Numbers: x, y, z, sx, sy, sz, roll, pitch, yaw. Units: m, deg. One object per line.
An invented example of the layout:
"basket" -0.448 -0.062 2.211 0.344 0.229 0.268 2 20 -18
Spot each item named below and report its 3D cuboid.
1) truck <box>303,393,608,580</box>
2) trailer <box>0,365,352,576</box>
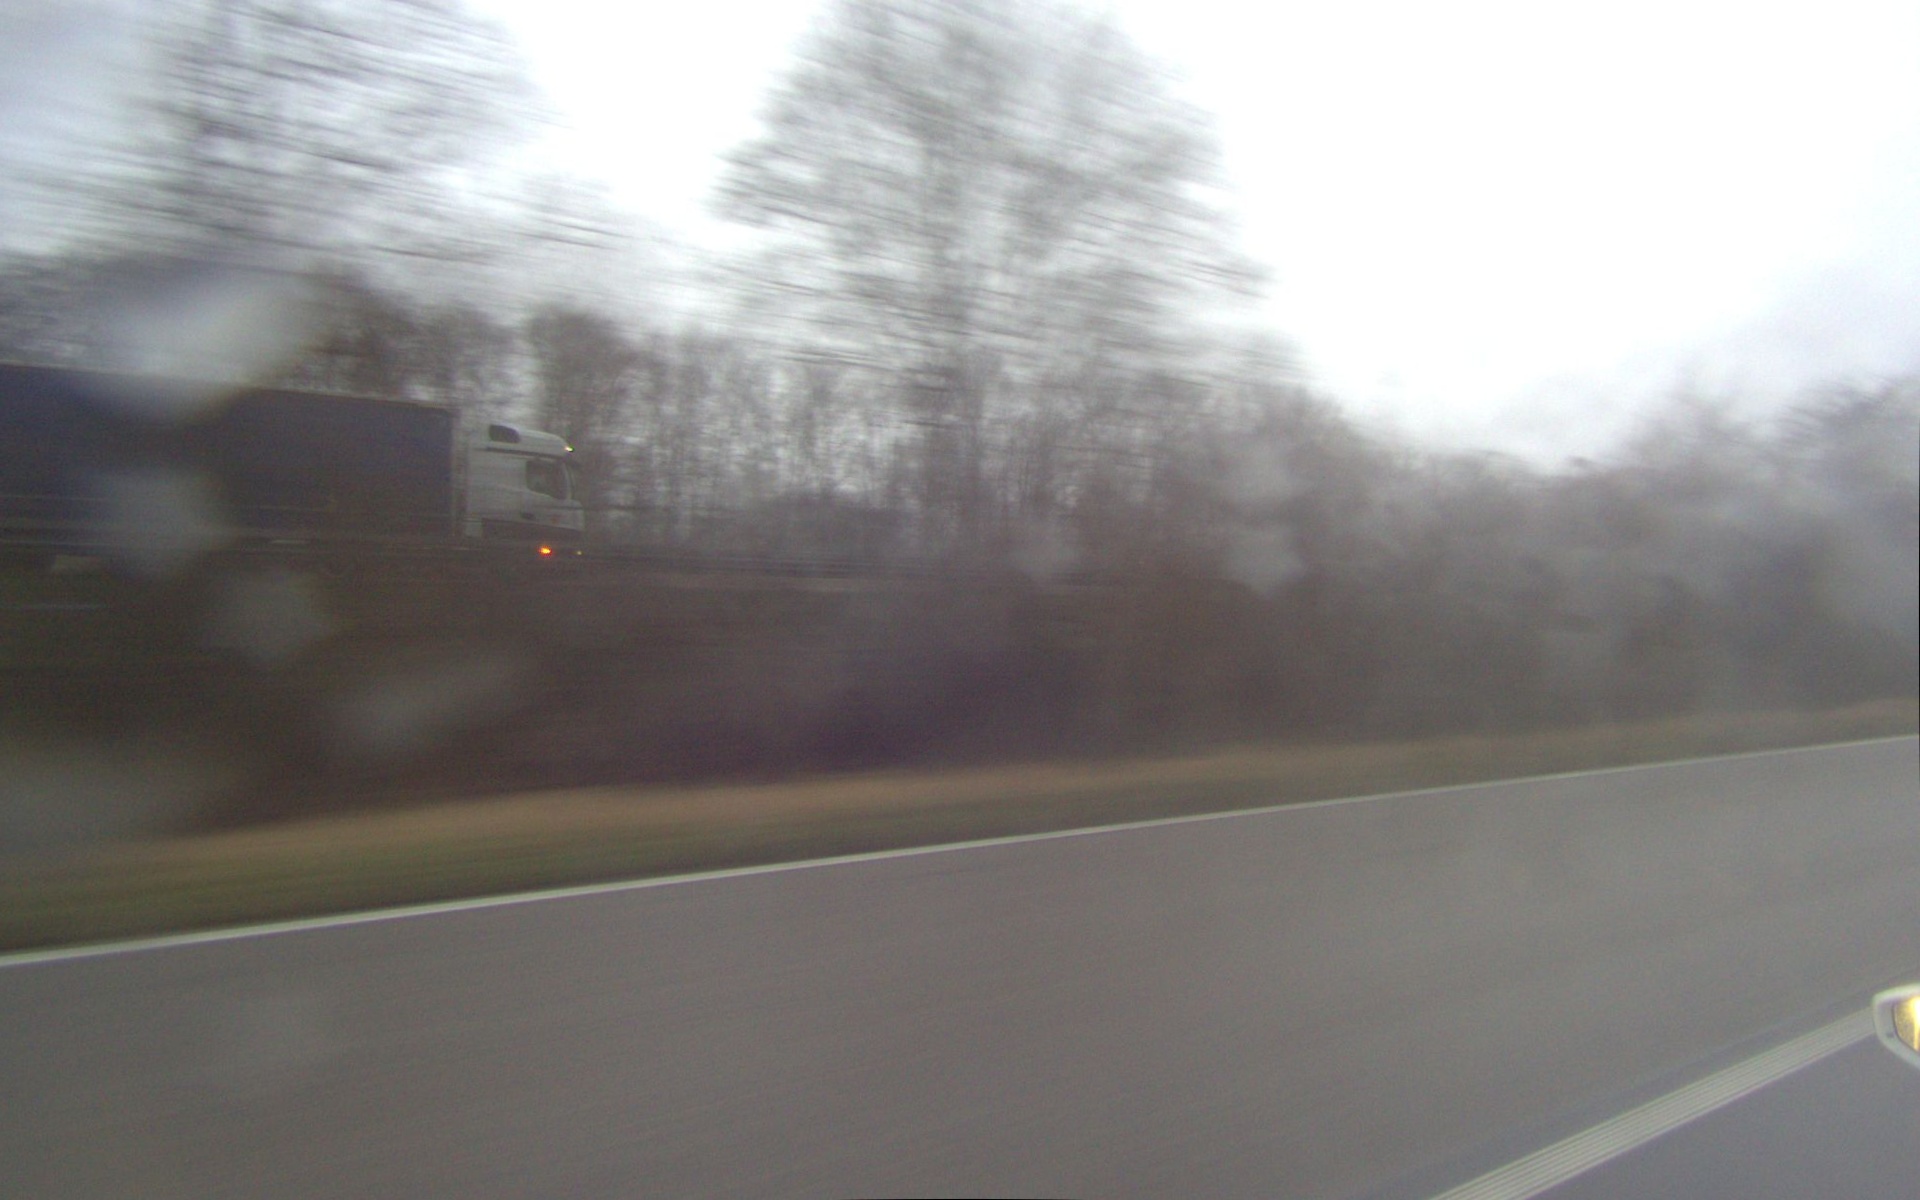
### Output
"truck" -11.575 -2.383 23.433 5.992 3.681 2.980 0 0 -29
"trailer" -18.545 -2.458 19.599 11.246 3.682 2.986 1 0 -29
